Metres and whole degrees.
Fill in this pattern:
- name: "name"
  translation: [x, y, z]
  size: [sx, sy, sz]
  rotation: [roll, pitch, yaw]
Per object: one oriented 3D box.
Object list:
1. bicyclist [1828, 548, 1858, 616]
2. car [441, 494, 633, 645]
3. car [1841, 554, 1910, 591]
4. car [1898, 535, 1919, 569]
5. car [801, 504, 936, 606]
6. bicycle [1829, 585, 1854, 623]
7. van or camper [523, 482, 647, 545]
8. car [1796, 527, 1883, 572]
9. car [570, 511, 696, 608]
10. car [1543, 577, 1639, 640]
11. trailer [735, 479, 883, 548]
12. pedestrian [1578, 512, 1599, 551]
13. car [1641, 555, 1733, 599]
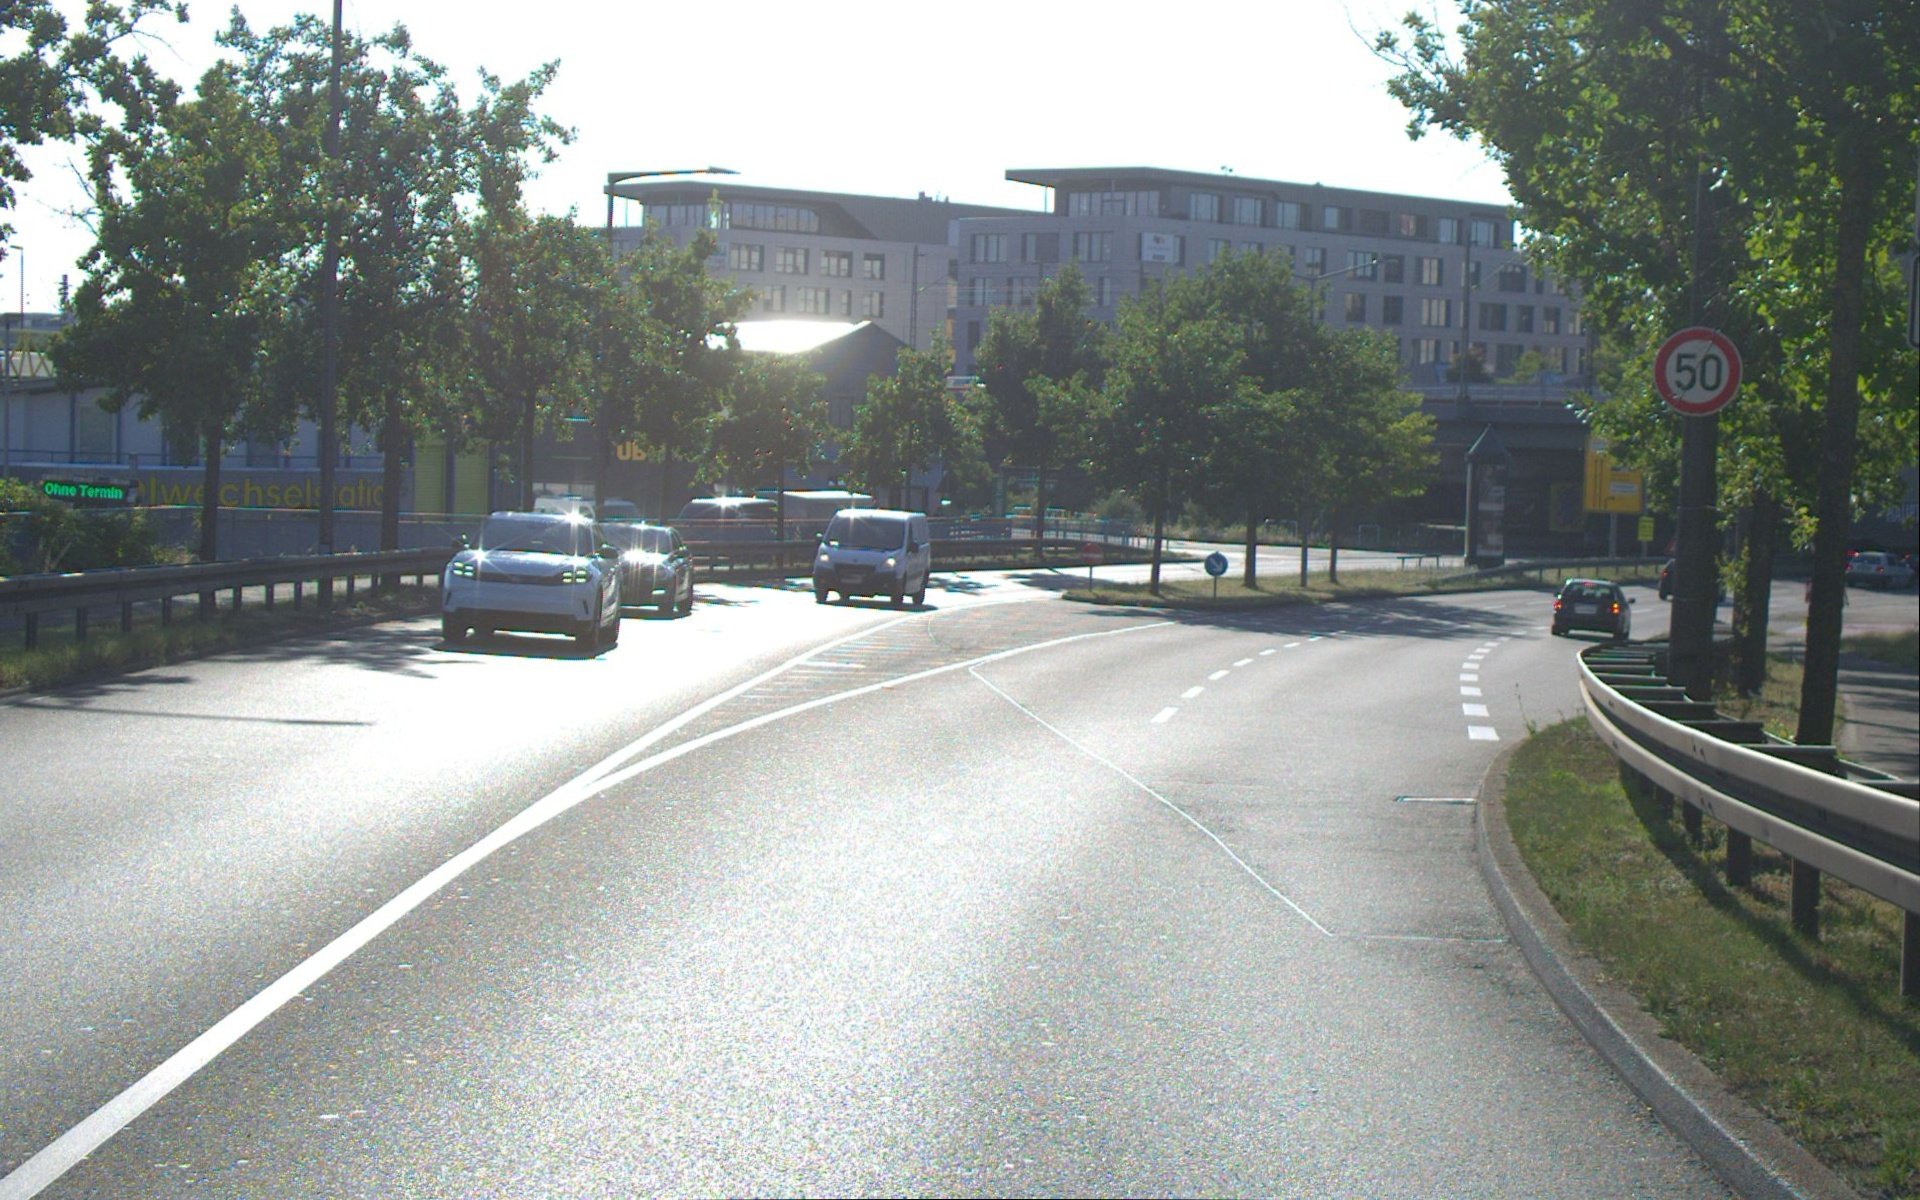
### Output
- name: "bicyclist"
  translation: [25.434, -0.520, 99.017]
  size: [0.682, 1.900, 0.833]
  rotation: [4, 3, 16]
- name: "car"
  translation: [-5.176, -0.362, 42.586]
  size: [1.828, 1.584, 4.649]
  rotation: [6, 0, -2]
- name: "car"
  translation: [36.611, -1.119, 137.403]
  size: [1.550, 1.418, 3.410]
  rotation: [1, 2, 36]
- name: "car"
  translation: [42.710, -2.095, 150.632]
  size: [1.845, 1.435, 3.667]
  rotation: [1, 1, 37]
- name: "car"
  translation: [-1.856, -0.941, 71.649]
  size: [1.878, 2.007, 5.258]
  rotation: [2, 1, 8]
- name: "bicycle"
  translation: [25.375, 0.105, 98.966]
  size: [0.579, 0.960, 2.884]
  rotation: [4, 2, 16]
- name: "van or camper"
  translation: [-12.661, -2.919, 115.925]
  size: [1.994, 1.919, 4.228]
  rotation: [2, 1, -41]
- name: "car"
  translation: [36.848, -2.101, 143.949]
  size: [1.833, 1.732, 4.451]
  rotation: [5, 3, 38]
- name: "car"
  translation: [-5.347, -0.684, 56.637]
  size: [1.772, 1.460, 4.384]
  rotation: [3, 1, -3]
- name: "car"
  translation: [15.873, 0.188, 86.332]
  size: [1.995, 1.503, 3.997]
  rotation: [1, 1, 16]
- name: "trailer"
  translation: [-4.653, -2.676, 107.412]
  size: [2.421, 1.963, 6.600]
  rotation: [4, 2, 17]
- name: "pedestrian"
  translation: [30.943, -3.367, 169.267]
  size: [0.696, 1.897, 0.663]
  rotation: [5, 3, 42]
- name: "car"
  translation: [25.224, -0.792, 119.231]
  size: [1.585, 1.403, 3.824]
  rotation: [5, 3, 36]
